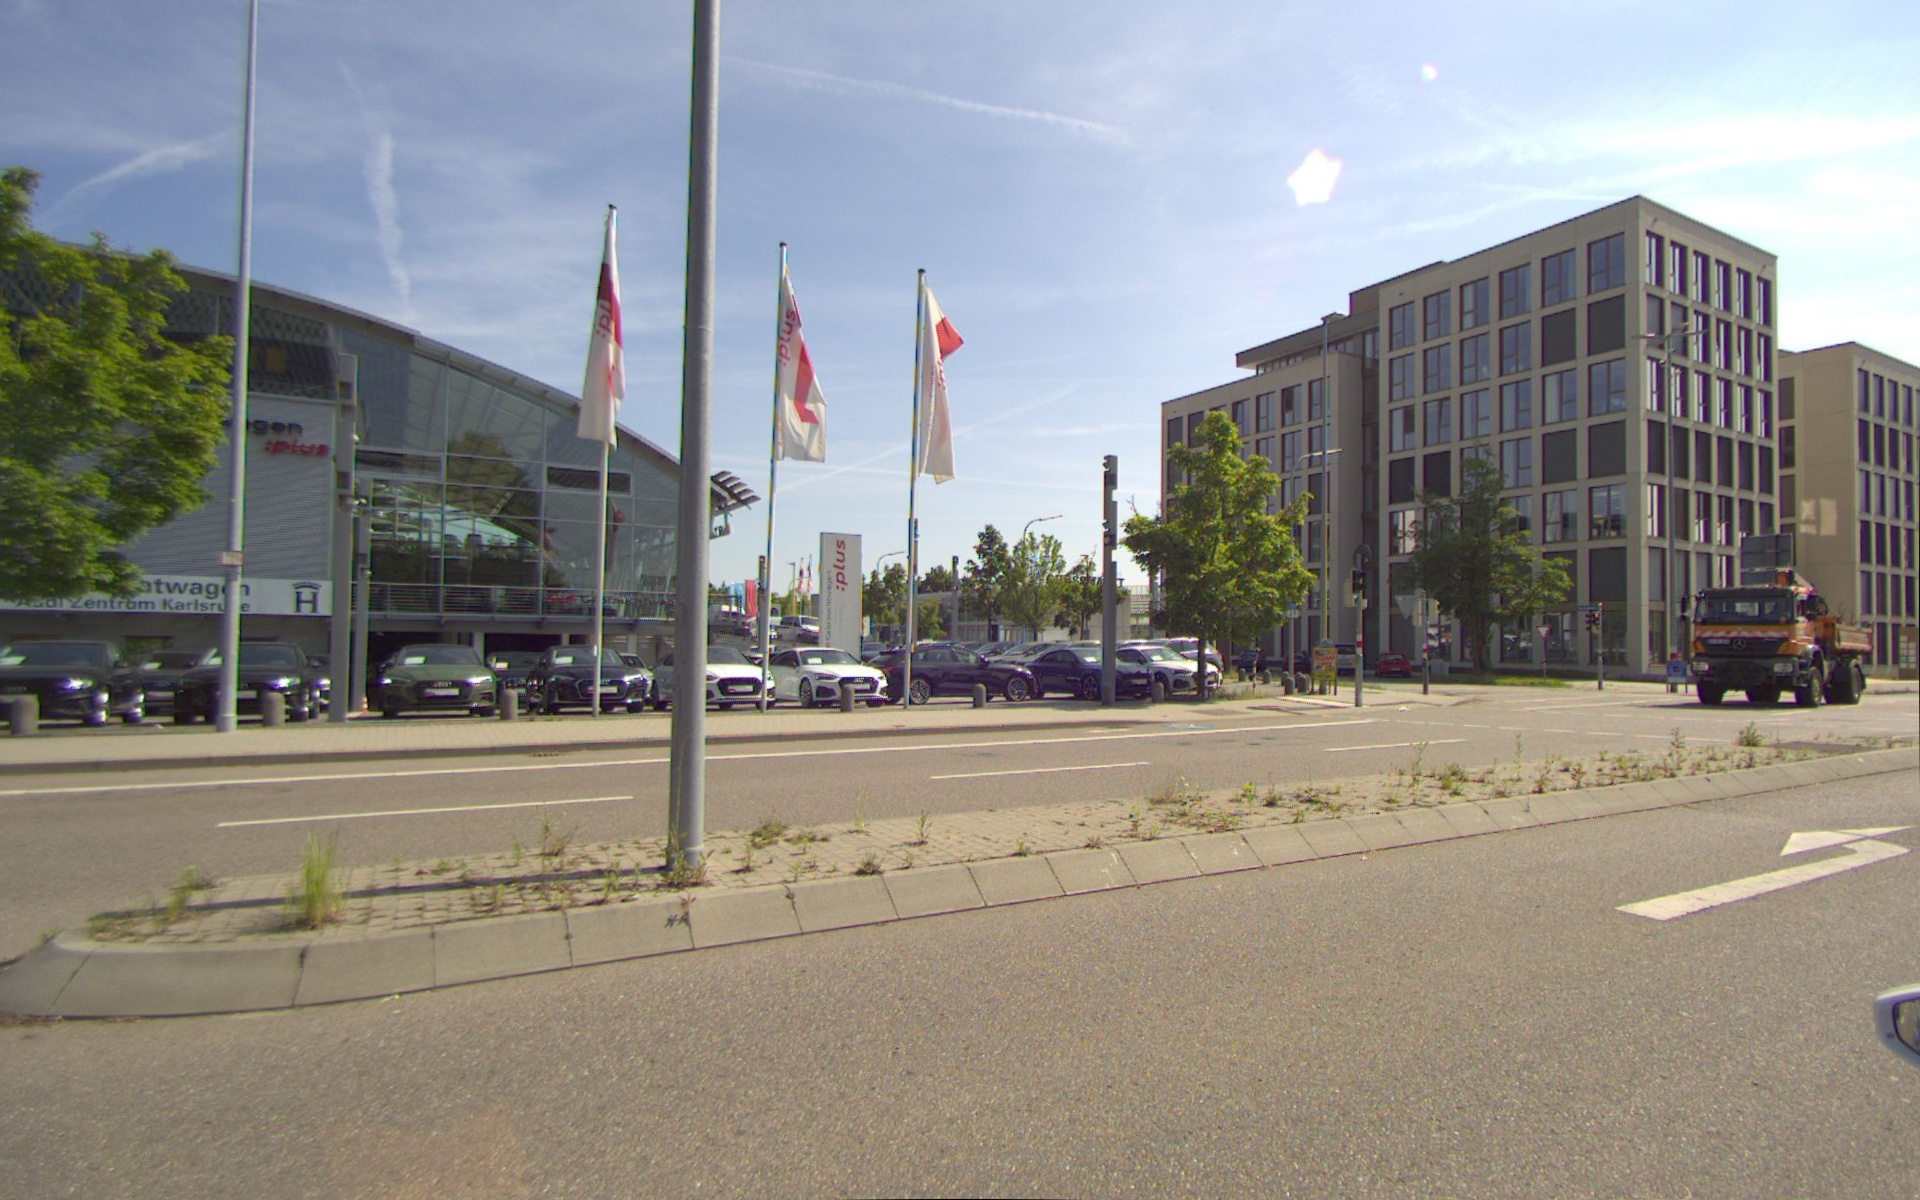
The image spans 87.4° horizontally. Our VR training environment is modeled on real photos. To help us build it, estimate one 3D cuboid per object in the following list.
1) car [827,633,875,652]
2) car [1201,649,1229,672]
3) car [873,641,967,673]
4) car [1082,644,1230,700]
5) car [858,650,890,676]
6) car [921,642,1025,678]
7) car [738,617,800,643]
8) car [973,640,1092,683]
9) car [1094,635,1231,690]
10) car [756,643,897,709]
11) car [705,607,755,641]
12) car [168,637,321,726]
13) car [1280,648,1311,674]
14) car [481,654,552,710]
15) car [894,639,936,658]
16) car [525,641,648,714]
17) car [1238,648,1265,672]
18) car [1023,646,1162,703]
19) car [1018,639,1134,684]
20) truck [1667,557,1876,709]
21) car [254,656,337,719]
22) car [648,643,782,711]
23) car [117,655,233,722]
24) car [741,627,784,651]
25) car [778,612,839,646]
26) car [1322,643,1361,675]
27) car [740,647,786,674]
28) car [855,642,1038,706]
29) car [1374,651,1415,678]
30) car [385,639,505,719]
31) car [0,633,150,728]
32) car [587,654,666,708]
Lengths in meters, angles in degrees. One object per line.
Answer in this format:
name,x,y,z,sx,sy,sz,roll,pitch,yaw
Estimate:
car,-14.372,5.619,132.169,5.828,2.463,2.360,2,-3,-26
car,17.786,4.197,69.981,1.655,1.499,4.002,0,-2,17
car,-2.021,2.864,51.033,4.506,1.461,1.779,0,-2,-31
car,5.512,1.994,28.743,1.876,1.451,4.357,2,-3,-27
car,-4.990,3.641,58.740,1.763,1.461,4.027,1,-3,-3
car,0.624,2.722,46.303,4.578,1.461,1.779,-1,-2,-31
car,-15.838,2.504,83.402,4.697,2.040,1.984,2,-3,-31
car,3.003,2.496,41.421,4.721,1.525,1.779,-1,-1,-31
car,6.978,2.101,34.496,4.540,1.635,1.806,-1,-1,-30
car,-3.179,1.771,23.252,1.856,1.387,4.055,2,-5,-30
car,-16.511,1.718,71.853,2.063,2.373,5.510,1,-1,-28
car,-12.531,1.445,17.843,1.809,1.371,4.261,2,-5,-31
car,21.273,3.860,63.670,1.772,1.533,4.001,0,-2,20
car,-13.097,2.357,29.562,1.506,1.492,3.491,2,-2,-30
car,-4.985,5.410,111.671,4.189,1.965,1.885,2,-3,-30
car,-7.683,1.586,20.452,1.815,1.336,3.972,2,-5,-28
car,19.544,4.008,67.196,1.628,1.517,3.965,0,-2,17
car,3.516,1.970,27.258,1.744,1.421,3.815,2,-3,-31
car,4.586,2.364,39.425,4.325,1.564,1.779,-1,-1,-31
truck,22.752,0.989,28.031,7.508,3.728,2.727,2,-3,-37
car,-17.711,2.277,26.879,1.570,1.492,3.492,2,-2,-30
car,-5.429,1.698,21.931,1.846,1.336,3.971,2,-5,-29
car,-20.032,2.205,25.784,1.669,1.492,3.802,2,-2,-28
car,-14.393,2.803,72.979,1.976,1.595,3.956,2,-1,-29
car,-9.555,1.795,62.899,2.066,1.932,4.509,6,-4,-31
car,23.102,3.538,60.977,1.860,1.845,4.817,0,-2,16
car,-10.855,3.325,55.646,1.762,1.461,4.028,1,-3,-1
car,-0.311,1.848,25.713,4.373,1.515,1.790,2,-3,-30
car,24.960,3.701,57.804,1.772,1.434,4.032,0,-2,18
car,-9.970,1.517,19.287,1.833,1.352,4.157,2,-5,-30
car,-14.799,1.328,16.429,1.814,1.371,4.091,2,-5,-31
car,-10.380,2.463,31.175,1.647,1.492,3.491,2,-2,-30
